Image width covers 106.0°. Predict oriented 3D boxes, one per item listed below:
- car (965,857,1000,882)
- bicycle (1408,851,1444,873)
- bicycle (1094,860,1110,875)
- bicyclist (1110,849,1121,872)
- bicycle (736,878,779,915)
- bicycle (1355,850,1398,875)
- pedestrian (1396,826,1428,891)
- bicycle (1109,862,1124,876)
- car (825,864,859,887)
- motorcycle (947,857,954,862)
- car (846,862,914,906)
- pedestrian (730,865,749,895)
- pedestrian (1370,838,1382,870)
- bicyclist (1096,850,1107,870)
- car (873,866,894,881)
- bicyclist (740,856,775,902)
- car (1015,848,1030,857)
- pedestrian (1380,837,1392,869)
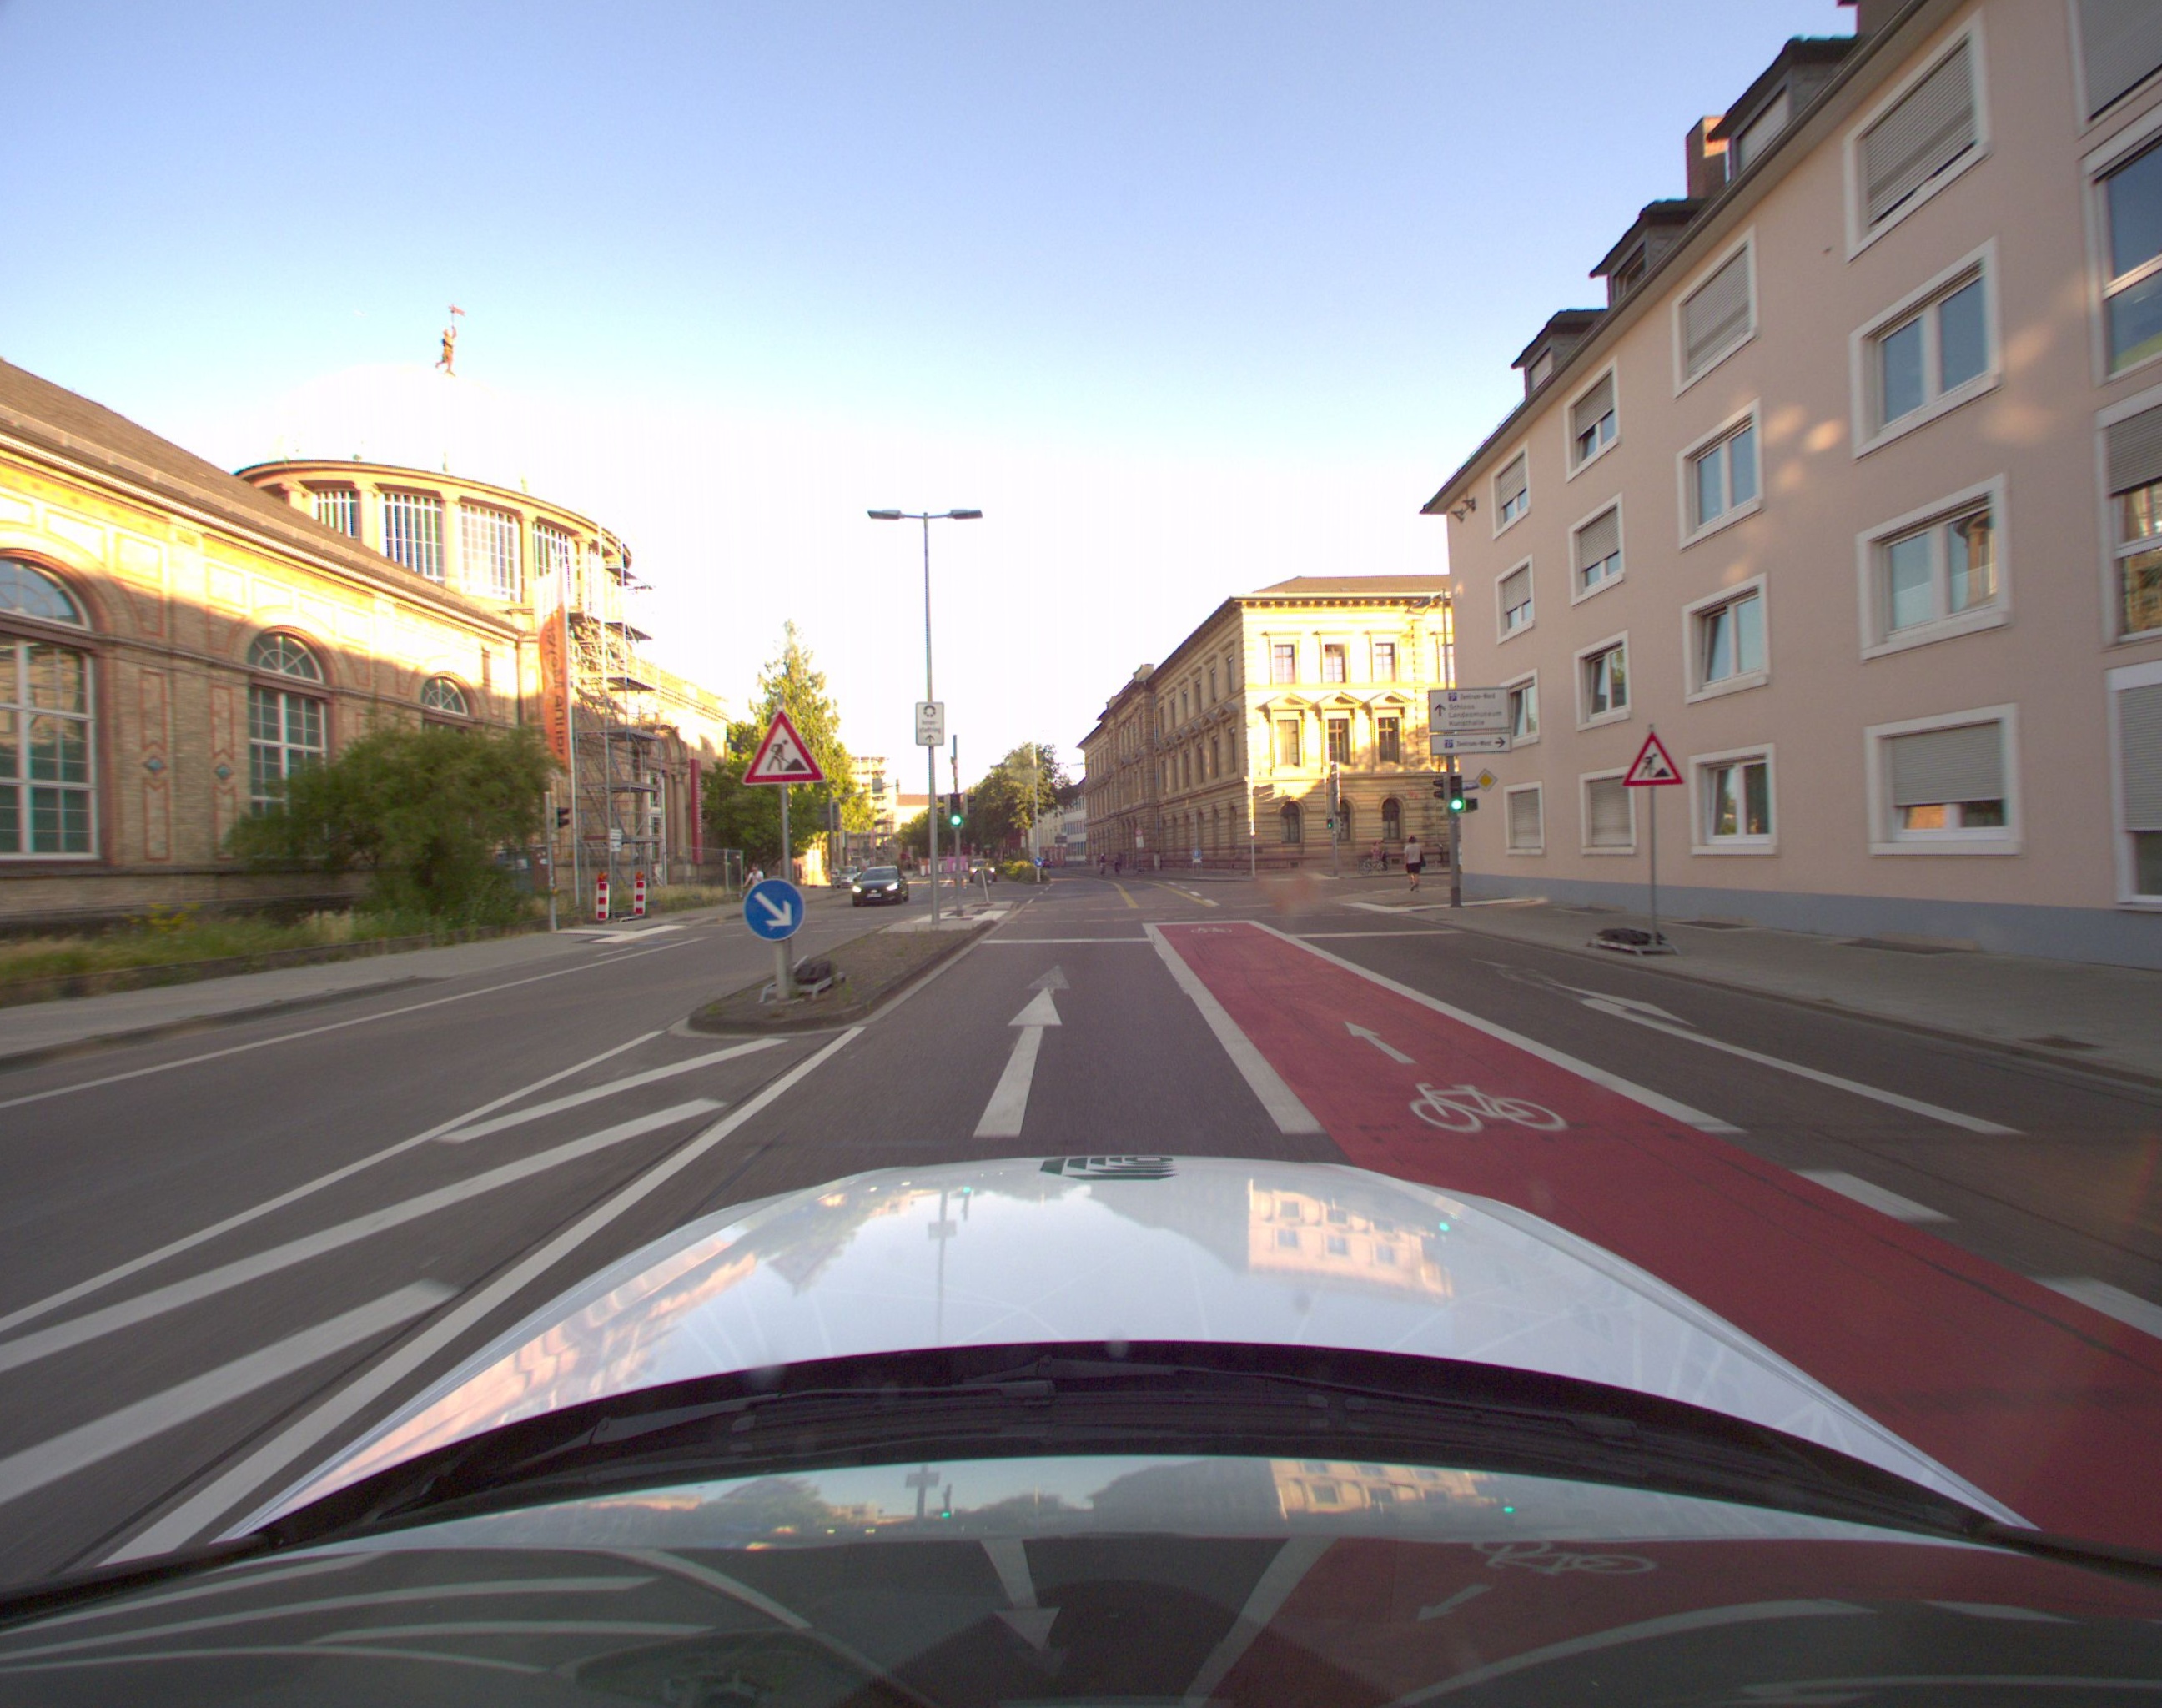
[{"bbox_3d":[-6.655,1.025,55.282,1.840,1.547,4.117,-2,0,-1],"label":"car"},{"bbox_3d":[19.106,0.423,45.129,1.718,1.144,0.696,-2,2,-2],"label":"bicycle"},{"bbox_3d":[1.610,1.039,62.257,0.671,1.071,1.891,0,-1,-15],"label":"bicycle"},{"bbox_3d":[2.703,0.473,62.965,0.650,1.760,0.860,0,-1,-13],"label":"bicyclist"},{"bbox_3d":[-10.660,1.383,26.891,0.752,1.090,1.929,-4,0,-5],"label":"bicycle"},{"bbox_3d":[16.248,0.458,44.782,2.044,1.207,0.862,-2,2,-2],"label":"bicycle"},{"bbox_3d":[10.644,0.136,26.191,0.779,2.013,0.998,-2,0,16],"label":"pedestrian"},{"bbox_3d":[2.730,1.154,62.839,0.653,1.071,2.248,0,-1,-12],"label":"bicycle"},{"bbox_3d":[-17.402,1.589,59.445,1.743,1.547,4.357,-1,-2,-8],"label":"car"},{"bbox_3d":[-30.949,1.274,192.524,1.046,1.248,2.378,-1,-1,-24],"label":"motorcycle"},{"bbox_3d":[-7.757,1.105,31.833,1.820,1.508,4.419,-2,0,-5],"label":"car"},{"bbox_3d":[-18.864,1.425,45.030,0.734,1.579,0.761,-2,0,-5],"label":"pedestrian"},{"bbox_3d":[17.305,-0.028,47.802,0.452,1.858,0.422,-2,-1,-41],"label":"pedestrian"},{"bbox_3d":[1.595,0.456,62.275,0.670,1.566,0.695,0,-1,-15],"label":"bicyclist"},{"bbox_3d":[-19.371,1.863,79.886,1.680,1.351,3.872,-3,0,-11],"label":"car"},{"bbox_3d":[-10.703,0.817,26.949,0.746,1.460,0.935,-4,0,-6],"label":"bicyclist"},{"bbox_3d":[-10.737,-0.217,148.877,1.818,1.560,3.838,-1,-1,-20],"label":"car"},{"bbox_3d":[17.767,-0.042,47.470,0.529,1.858,0.626,-2,-1,26],"label":"pedestrian"}]
